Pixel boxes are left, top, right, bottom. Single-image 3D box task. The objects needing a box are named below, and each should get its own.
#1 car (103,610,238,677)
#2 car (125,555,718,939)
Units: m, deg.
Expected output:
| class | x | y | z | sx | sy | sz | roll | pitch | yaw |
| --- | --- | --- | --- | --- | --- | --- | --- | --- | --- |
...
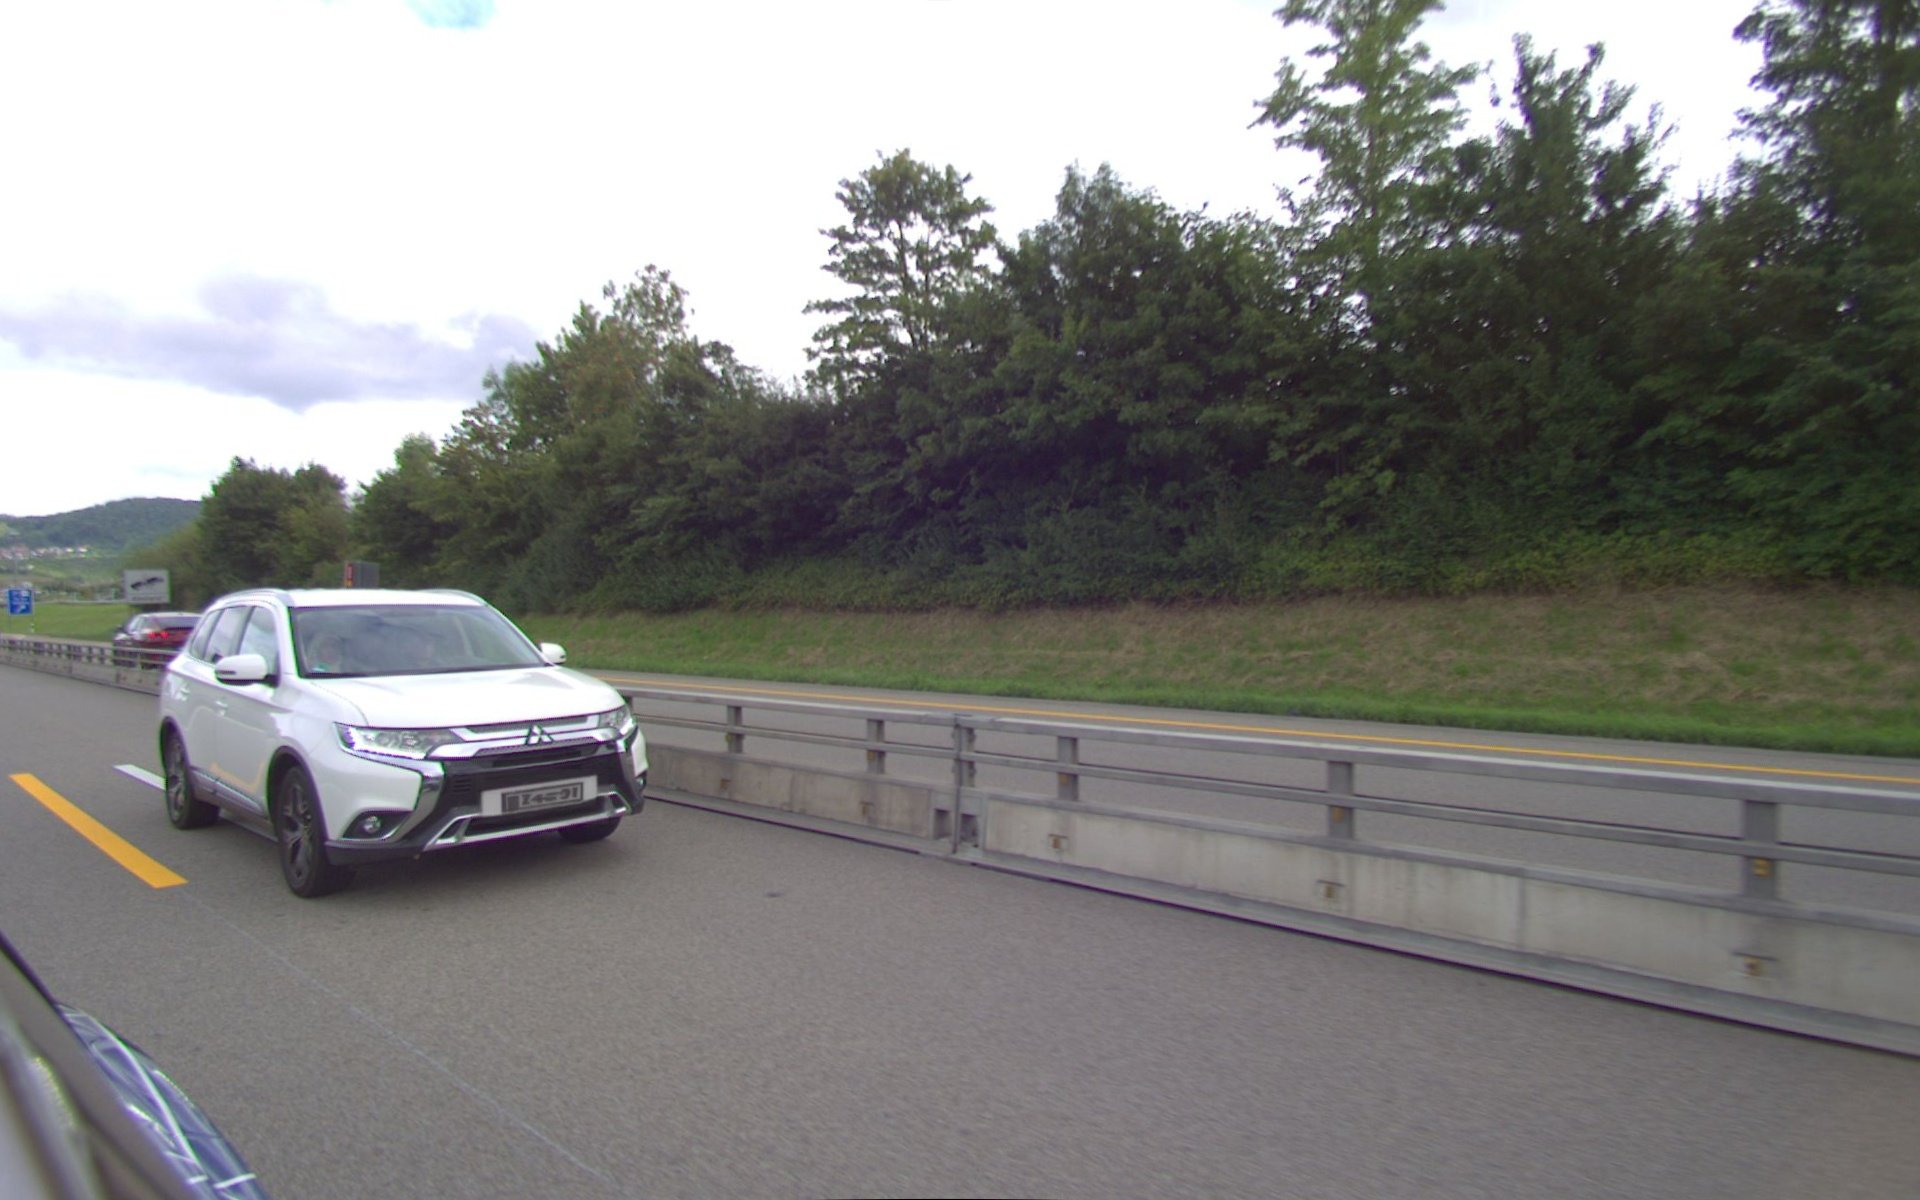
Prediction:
| class | x | y | z | sx | sy | sz | roll | pitch | yaw |
| --- | --- | --- | --- | --- | --- | --- | --- | --- | --- |
| car | -20.397 | 1.072 | 26.085 | 4.587 | 1.502 | 1.914 | -1 | 1 | 41 |
| car | -3.758 | 0.666 | 6.617 | 4.605 | 1.640 | 1.972 | -1 | -1 | 42 |
